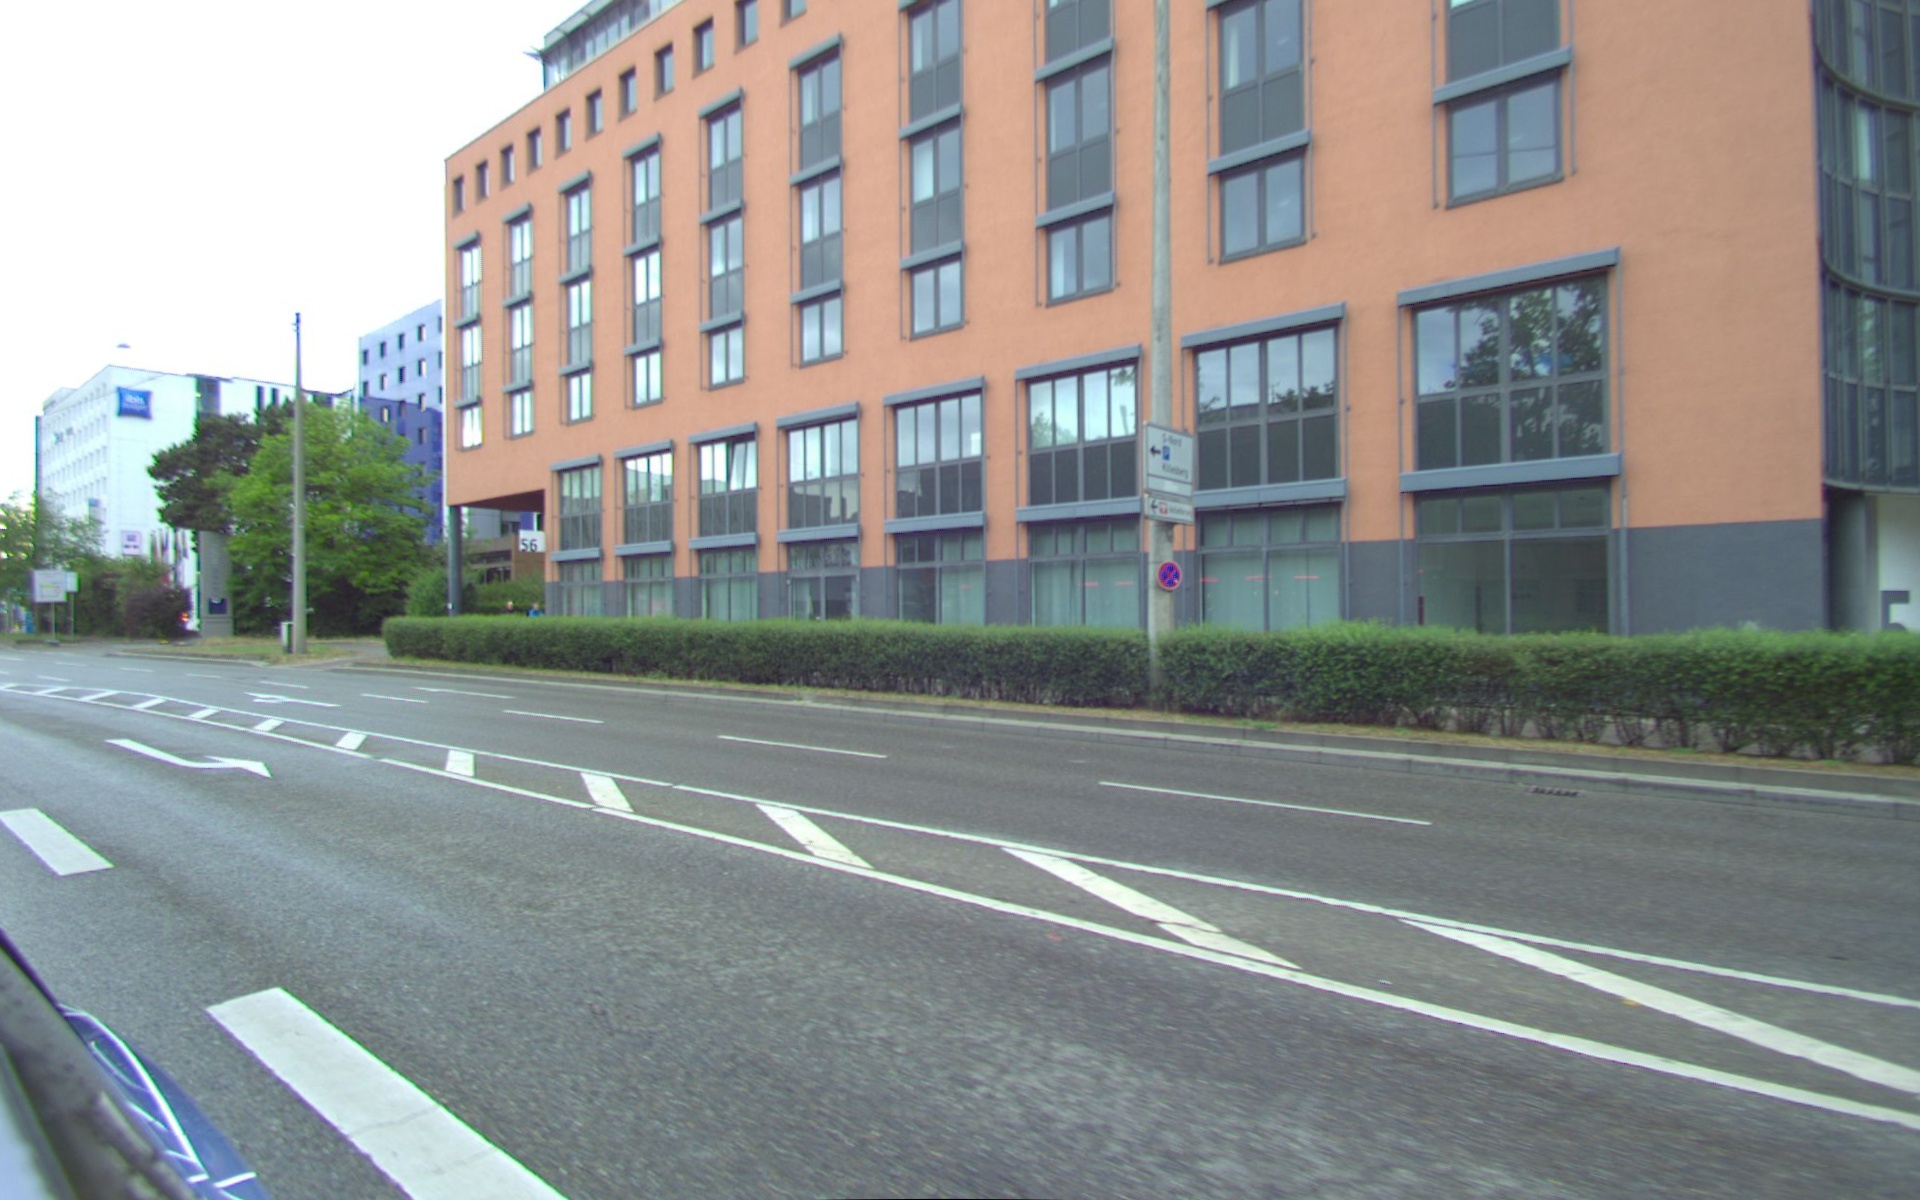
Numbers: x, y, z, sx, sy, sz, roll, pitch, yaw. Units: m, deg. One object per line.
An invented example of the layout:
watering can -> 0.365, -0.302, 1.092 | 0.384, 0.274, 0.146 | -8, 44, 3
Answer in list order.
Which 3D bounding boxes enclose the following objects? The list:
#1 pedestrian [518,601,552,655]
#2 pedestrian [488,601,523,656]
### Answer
pedestrian -> -14.836, 0.958, 35.357 | 0.885, 1.855, 0.738 | -1, 0, 39
pedestrian -> -15.611, 0.963, 34.764 | 0.885, 1.855, 0.738 | -1, 0, 39
